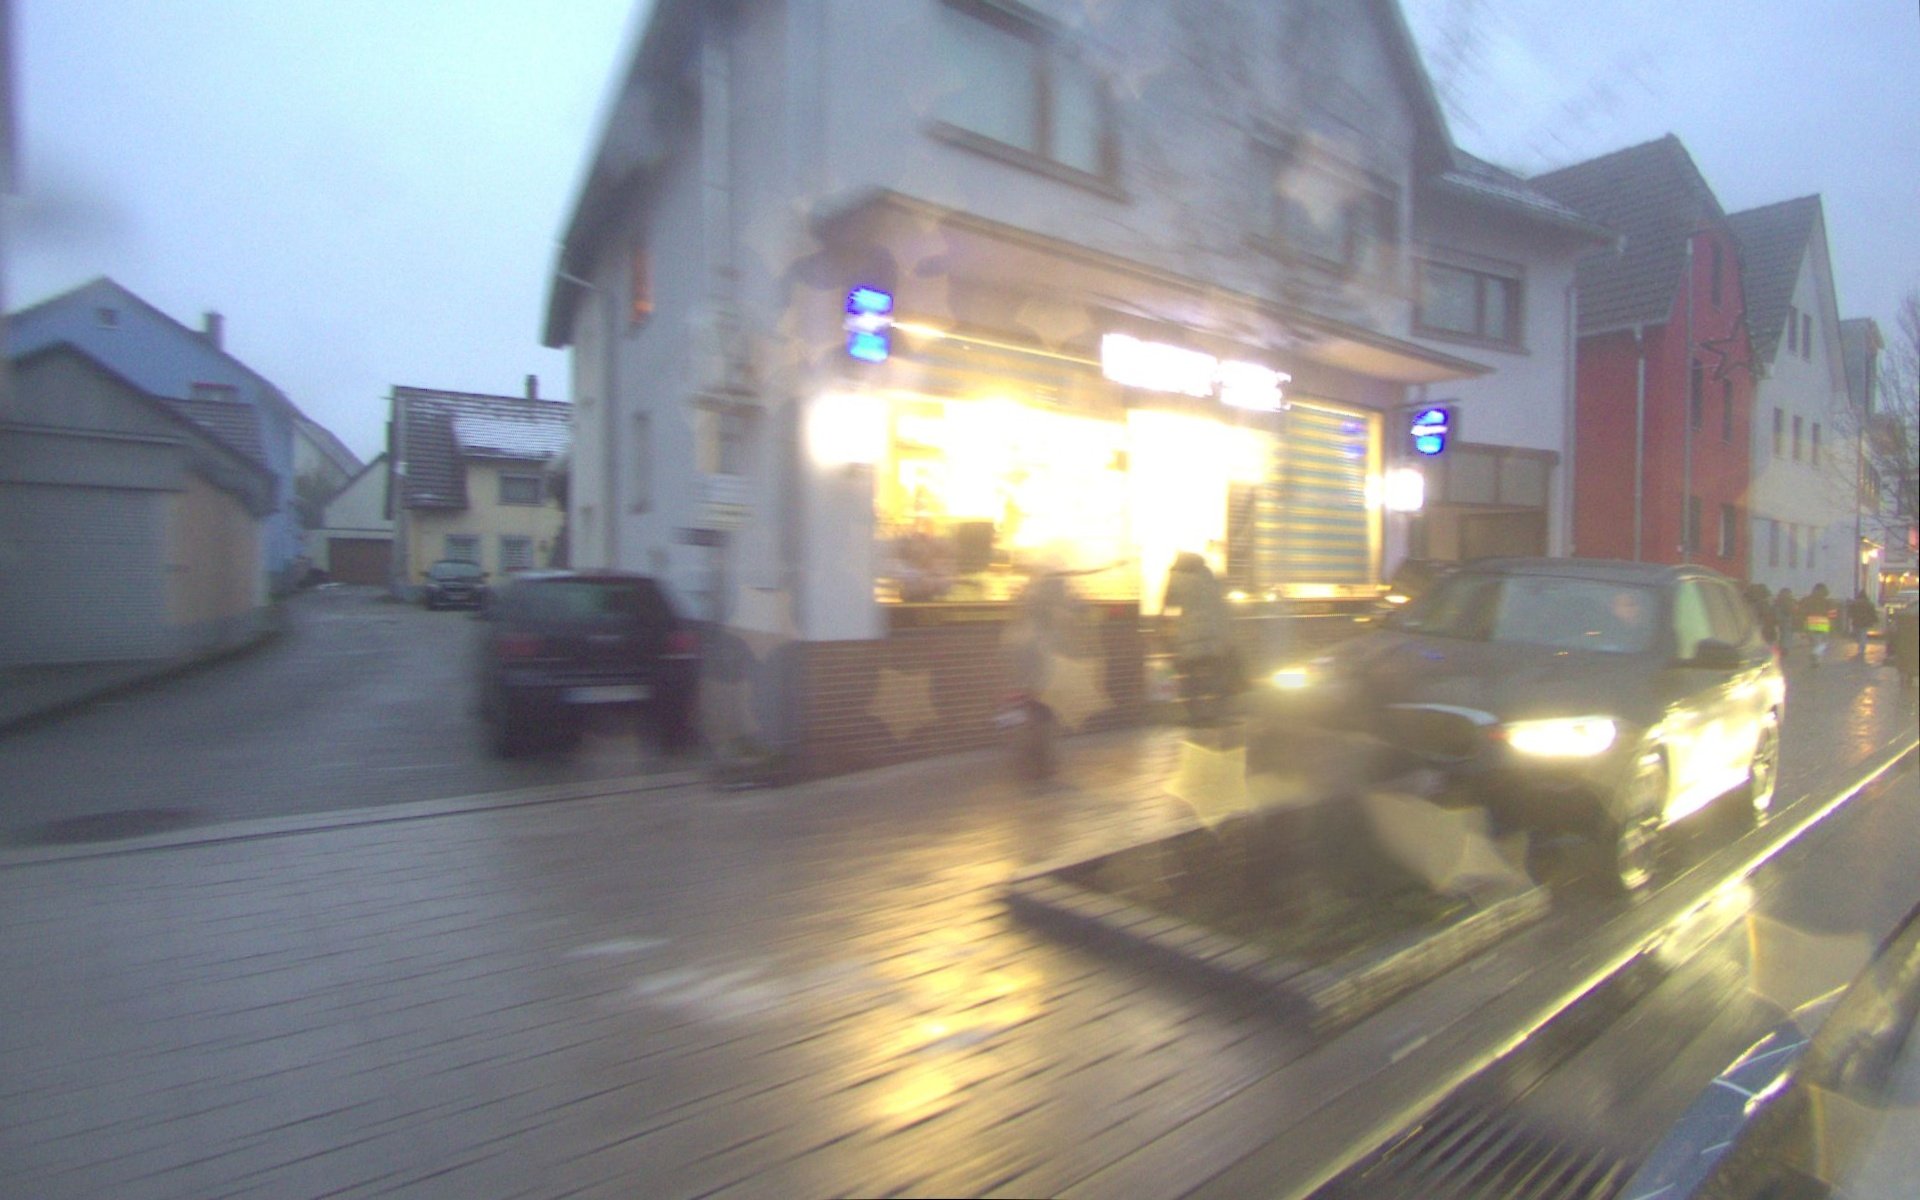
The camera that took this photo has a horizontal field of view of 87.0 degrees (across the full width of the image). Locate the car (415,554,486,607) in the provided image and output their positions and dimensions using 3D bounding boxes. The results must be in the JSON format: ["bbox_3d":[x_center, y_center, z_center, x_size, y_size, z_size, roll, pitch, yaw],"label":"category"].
[{"bbox_3d":[-16.332,-0.618,32.600,1.834,1.589,3.787,1,0,-24],"label":"car"}]

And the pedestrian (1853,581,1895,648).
[{"bbox_3d":[23.506,0.360,26.038,0.935,1.673,0.531,-3,1,-32],"label":"pedestrian"}]

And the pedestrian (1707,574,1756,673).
[{"bbox_3d":[13.269,0.400,17.419,0.616,1.647,0.895,1,-1,35],"label":"pedestrian"}]

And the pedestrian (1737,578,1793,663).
[{"bbox_3d":[16.008,0.407,20.123,0.998,1.650,0.482,1,1,-28],"label":"pedestrian"}]

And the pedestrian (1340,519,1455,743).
[{"bbox_3d":[3.529,0.221,8.167,0.641,1.720,0.574,-1,3,-40],"label":"pedestrian"}]

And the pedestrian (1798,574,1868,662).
[{"bbox_3d":[17.913,0.360,20.774,1.013,1.736,0.716,1,1,-28],"label":"pedestrian"}]

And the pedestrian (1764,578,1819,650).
[{"bbox_3d":[20.473,0.338,24.913,1.032,1.699,0.749,1,1,-35],"label":"pedestrian"}]

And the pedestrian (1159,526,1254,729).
[{"bbox_3d":[2.212,0.224,9.088,0.608,1.748,0.501,-3,1,-35],"label":"pedestrian"}]

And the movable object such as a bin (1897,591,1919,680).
[{"bbox_3d":[16.566,0.620,16.872,1.392,1.438,1.132,1,3,-39],"label":"movable object such as a bin"}]

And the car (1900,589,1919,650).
[{"bbox_3d":[25.600,0.523,25.845,4.123,1.482,1.733,0,3,-40],"label":"car"}]

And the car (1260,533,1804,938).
[{"bbox_3d":[3.822,0.532,6.385,4.311,1.713,1.738,-1,1,-42],"label":"car"}]

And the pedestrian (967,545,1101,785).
[{"bbox_3d":[0.516,0.415,6.958,0.616,1.535,0.724,1,-1,35],"label":"pedestrian"}]

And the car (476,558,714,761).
[{"bbox_3d":[-3.536,0.401,9.345,1.646,1.445,3.895,1,1,-26],"label":"car"}]
